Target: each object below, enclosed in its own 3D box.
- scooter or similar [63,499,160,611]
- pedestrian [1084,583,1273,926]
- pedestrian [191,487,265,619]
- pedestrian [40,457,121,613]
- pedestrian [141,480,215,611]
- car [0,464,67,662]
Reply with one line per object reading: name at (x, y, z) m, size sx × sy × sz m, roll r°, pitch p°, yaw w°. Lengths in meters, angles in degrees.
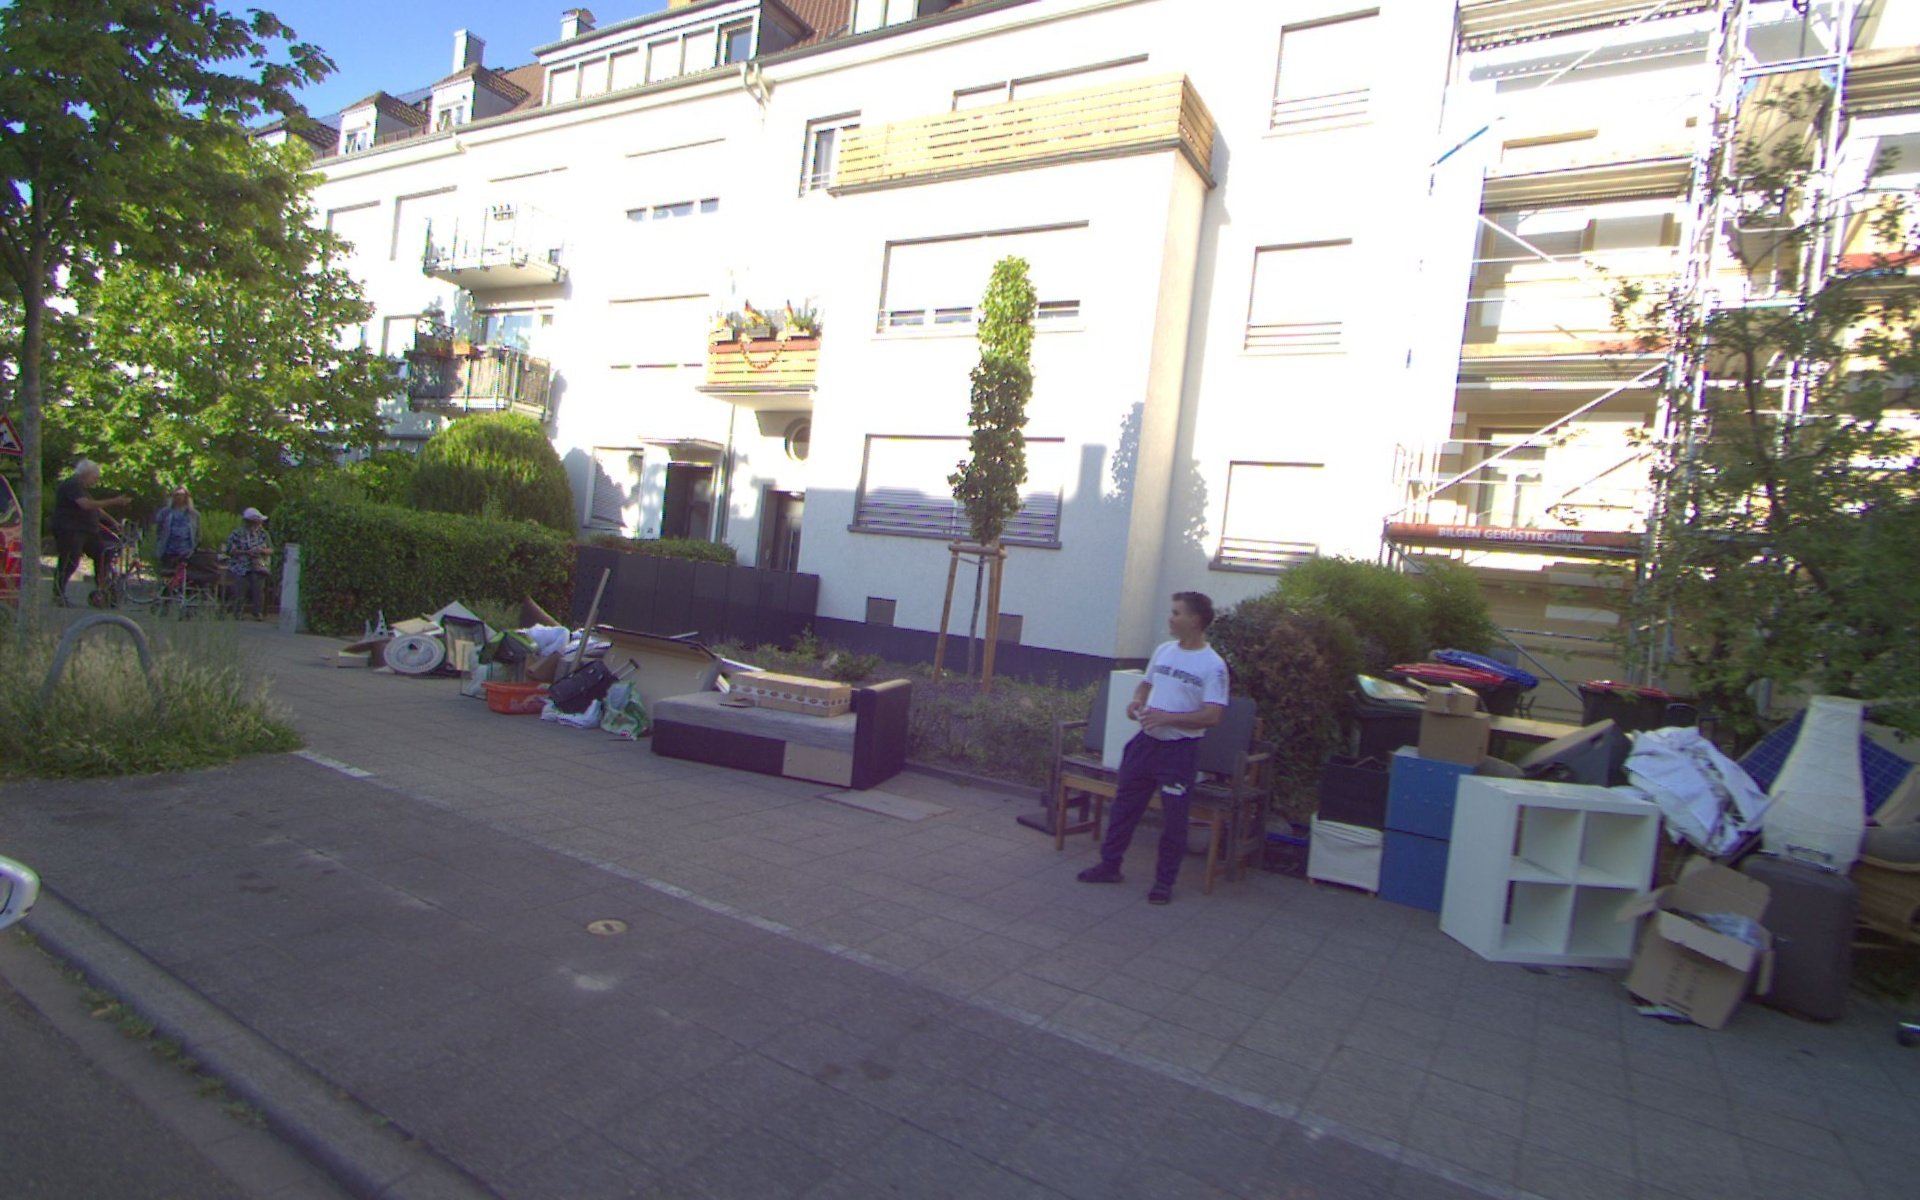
scooter or similar at (-10.953, -0.578, 12.988) m, size 0.710 × 1.334 × 0.746 m, roll 7°, pitch 1°, yaw 38°
pedestrian at (1.128, 0.754, 5.204) m, size 0.734 × 1.588 × 0.557 m, roll 7°, pitch 1°, yaw 14°
pedestrian at (-10.010, -0.631, 13.754) m, size 0.518 × 1.718 × 0.511 m, roll 7°, pitch 1°, yaw 27°
pedestrian at (-11.125, -0.819, 12.724) m, size 0.753 × 1.873 × 0.548 m, roll 7°, pitch 2°, yaw 39°
pedestrian at (-10.760, -0.746, 13.850) m, size 0.518 × 1.718 × 0.511 m, roll 7°, pitch 1°, yaw 27°
car at (-10.351, -0.575, 9.238) m, size 4.519 × 1.676 × 1.725 m, roll 7°, pitch 0°, yaw 29°
